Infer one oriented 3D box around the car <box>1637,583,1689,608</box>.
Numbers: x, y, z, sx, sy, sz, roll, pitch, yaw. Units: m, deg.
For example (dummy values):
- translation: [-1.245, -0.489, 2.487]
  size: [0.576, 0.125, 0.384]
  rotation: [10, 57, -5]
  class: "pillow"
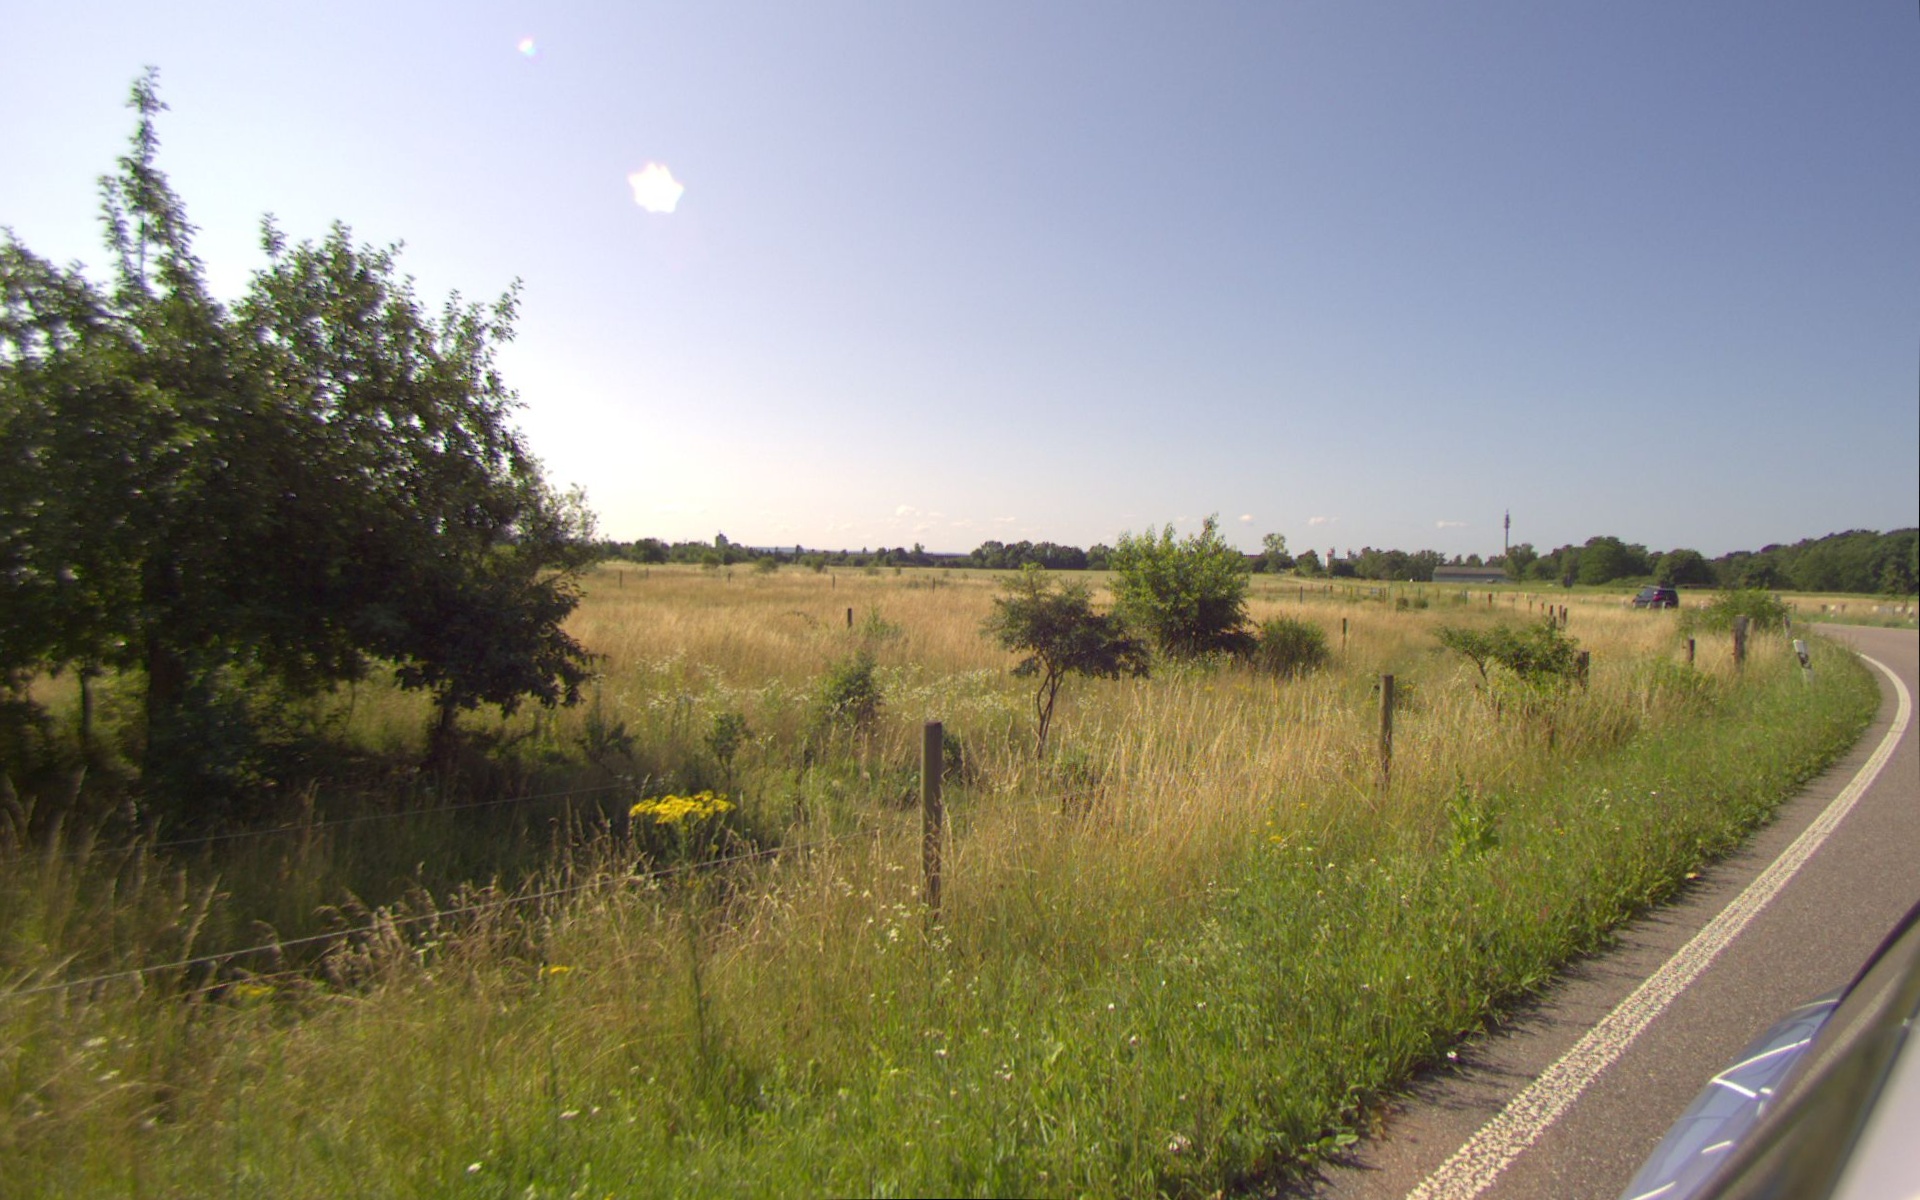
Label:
- translation: [50.484, -0.305, 72.725]
  size: [1.766, 1.652, 4.138]
  rotation: [3, 0, 17]
  class: "car"
